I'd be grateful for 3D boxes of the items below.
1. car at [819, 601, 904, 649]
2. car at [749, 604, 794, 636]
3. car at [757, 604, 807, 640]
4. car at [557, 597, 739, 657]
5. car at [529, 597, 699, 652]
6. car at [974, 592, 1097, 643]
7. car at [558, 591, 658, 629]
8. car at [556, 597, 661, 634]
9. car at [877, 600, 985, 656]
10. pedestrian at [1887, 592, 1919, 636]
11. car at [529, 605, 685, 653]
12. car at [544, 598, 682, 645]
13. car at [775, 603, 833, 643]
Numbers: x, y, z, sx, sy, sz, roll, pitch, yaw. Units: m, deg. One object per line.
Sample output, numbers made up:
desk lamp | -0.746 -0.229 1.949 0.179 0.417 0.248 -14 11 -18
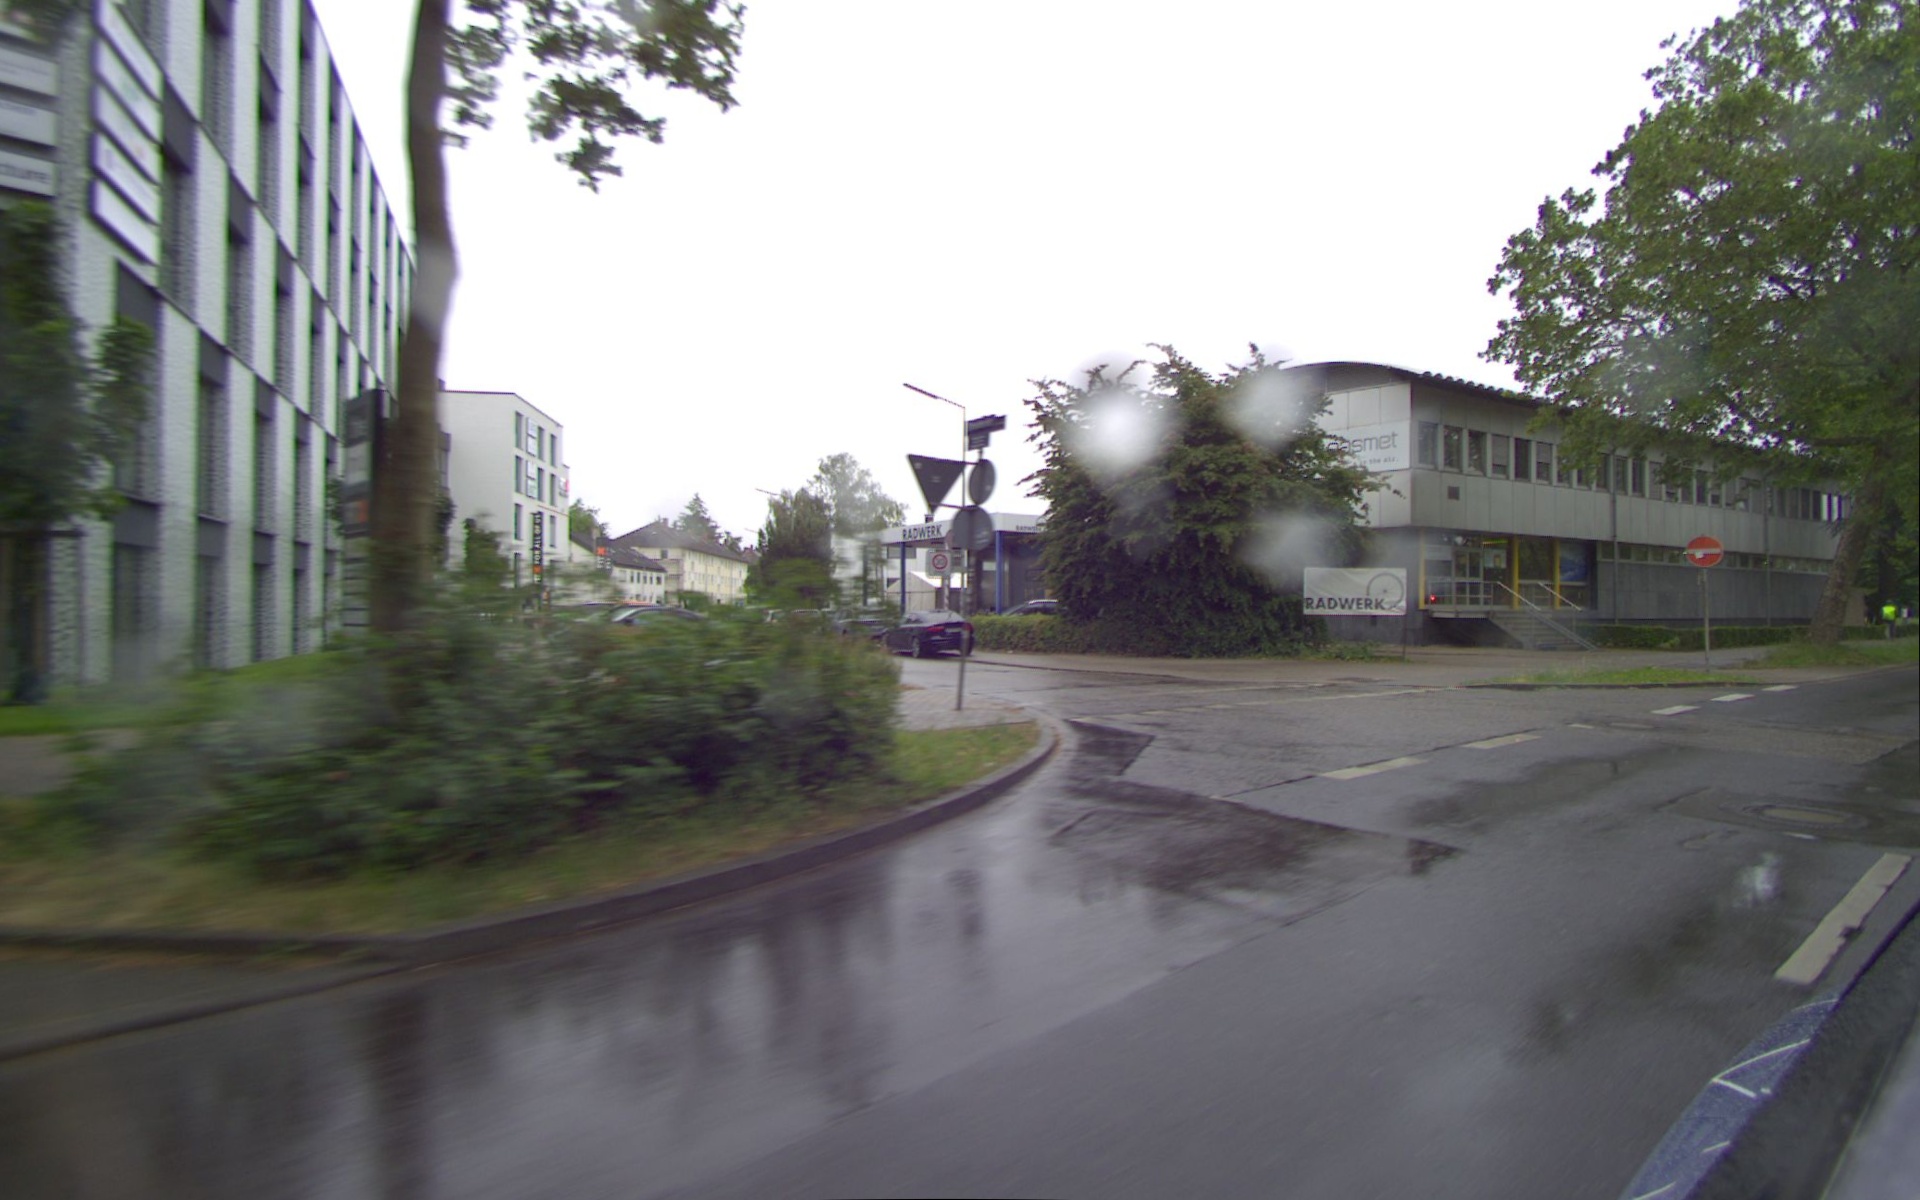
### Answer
car | -3.715 0.877 37.528 1.855 1.549 4.314 -3 1 -23
car | -10.026 1.018 53.652 1.854 1.487 4.315 -3 1 -16
car | -8.690 1.036 49.159 1.854 1.487 4.315 -3 1 -16
car | -8.645 0.723 28.069 4.631 1.549 1.897 1 0 -24
car | -10.310 0.713 30.163 4.631 1.549 1.897 1 -1 -24
car | 2.751 0.612 37.359 4.092 1.549 1.897 -4 1 -9
car | -17.842 0.496 51.312 4.631 1.869 1.897 1 0 -23
car | -16.932 0.739 48.758 4.631 1.682 1.897 1 0 -23
car | -0.998 0.836 31.807 1.855 1.525 4.313 -4 1 -23
pedestrian | 37.697 0.556 40.343 0.881 1.717 0.834 0 -1 -29
car | -11.367 0.916 32.611 4.631 1.431 1.897 1 0 -23
car | -12.674 0.782 36.978 4.631 1.637 1.897 1 0 -23
car | -6.865 0.966 44.189 1.854 1.487 4.315 -3 1 -17
